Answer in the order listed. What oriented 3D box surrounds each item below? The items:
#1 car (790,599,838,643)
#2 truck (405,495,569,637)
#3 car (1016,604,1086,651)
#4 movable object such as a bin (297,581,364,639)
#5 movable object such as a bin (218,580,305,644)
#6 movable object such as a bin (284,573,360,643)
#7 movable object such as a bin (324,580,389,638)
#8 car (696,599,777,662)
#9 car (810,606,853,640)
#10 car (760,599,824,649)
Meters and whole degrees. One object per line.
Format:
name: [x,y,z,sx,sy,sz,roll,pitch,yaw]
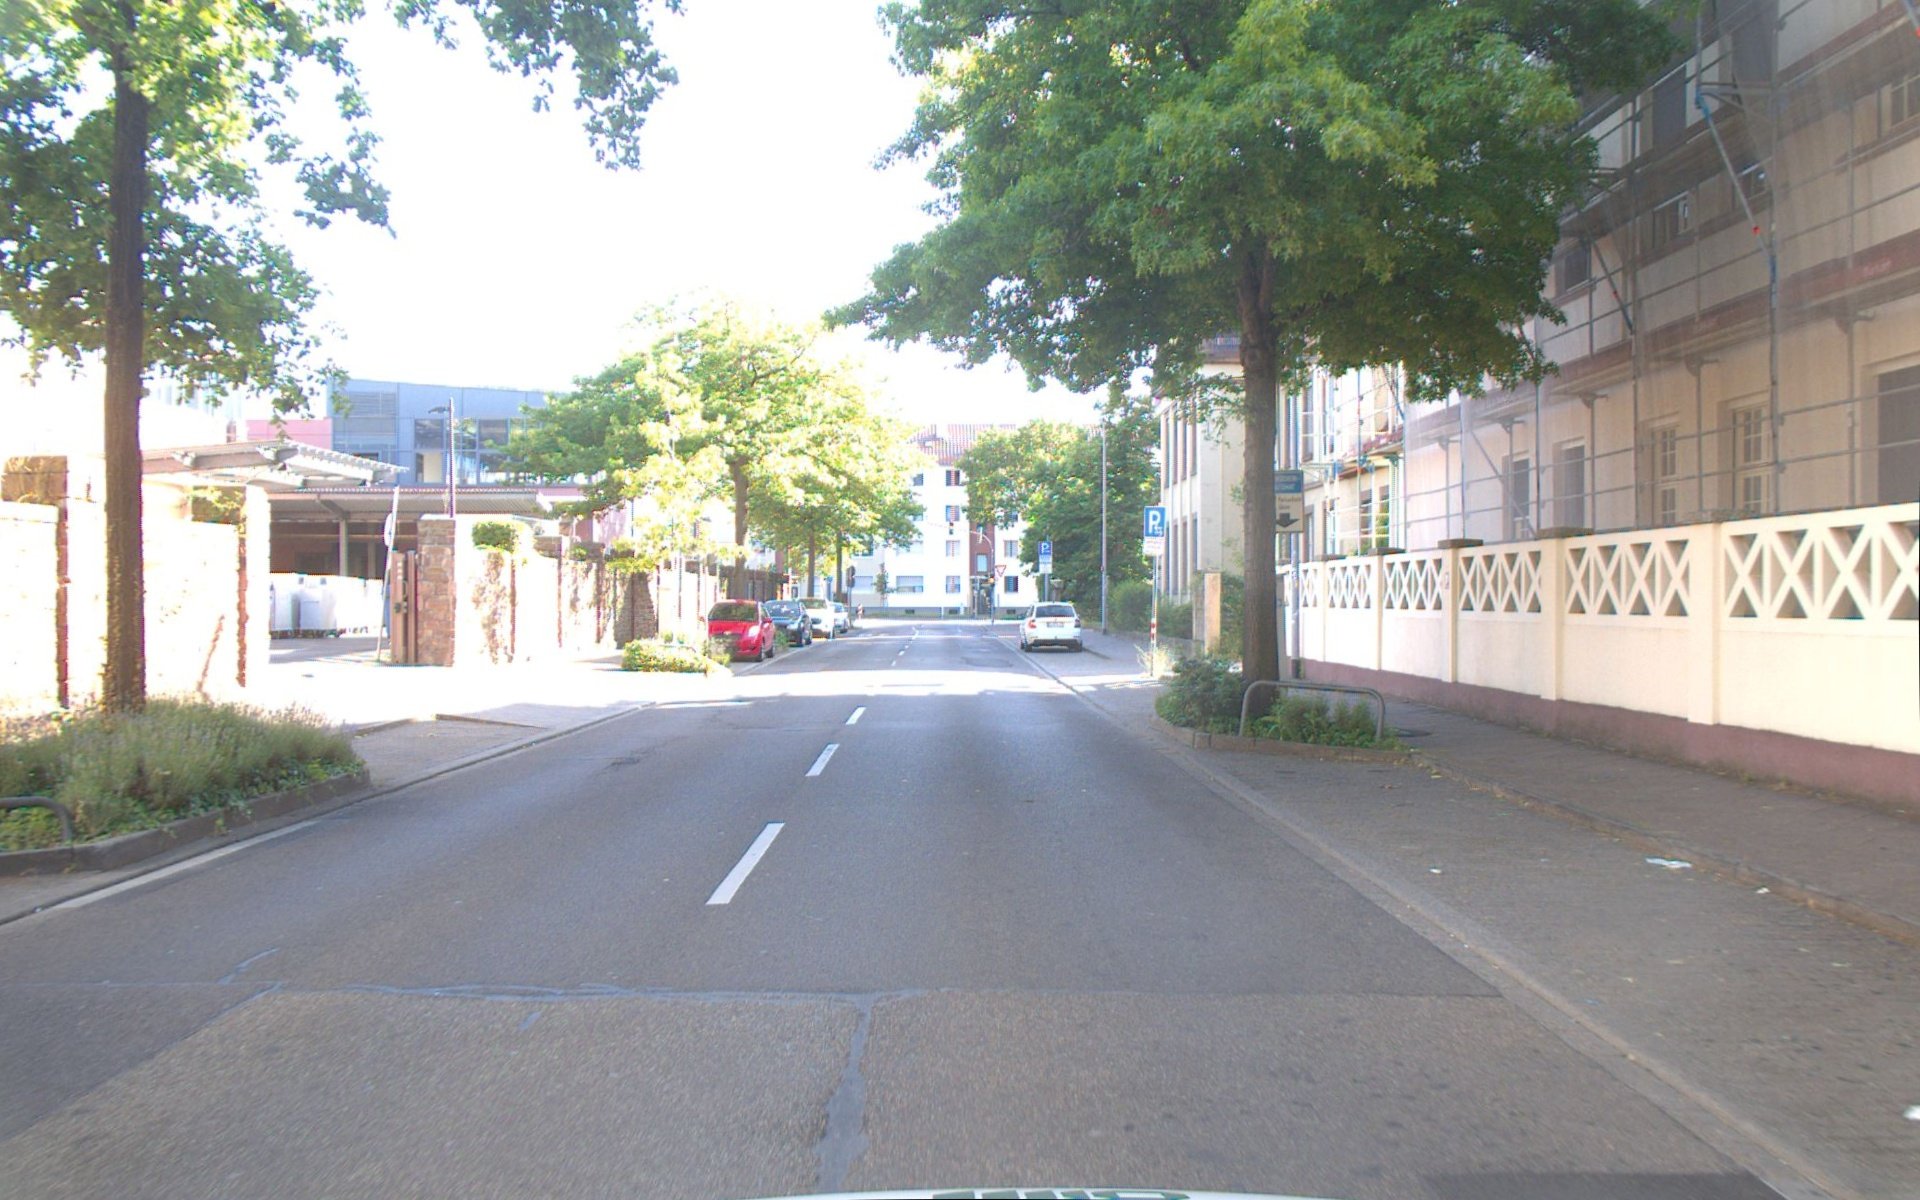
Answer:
car: [-5.873,0.839,66.808,1.685,1.713,4.349,0,0,-2]
truck: [-13.734,-0.903,48.628,2.677,3.776,7.426,2,0,-1]
car: [2.737,0.810,50.533,1.795,1.346,4.495,-1,0,-1]
movable object such as a bin: [-19.402,0.306,51.040,1.181,1.716,2.437,2,0,-3]
movable object such as a bin: [-18.741,0.328,44.440,1.300,1.626,2.553,2,0,-3]
movable object such as a bin: [-18.083,0.233,46.960,1.167,1.897,2.438,2,0,-1]
movable object such as a bin: [-19.604,0.295,53.795,1.181,1.812,2.672,2,0,-3]
car: [-5.735,0.761,42.733,1.576,1.484,3.708,2,0,0]
car: [-6.115,1.080,79.074,1.691,1.501,4.477,2,0,-1]
car: [-5.636,0.803,55.997,1.701,1.620,4.107,0,0,1]
